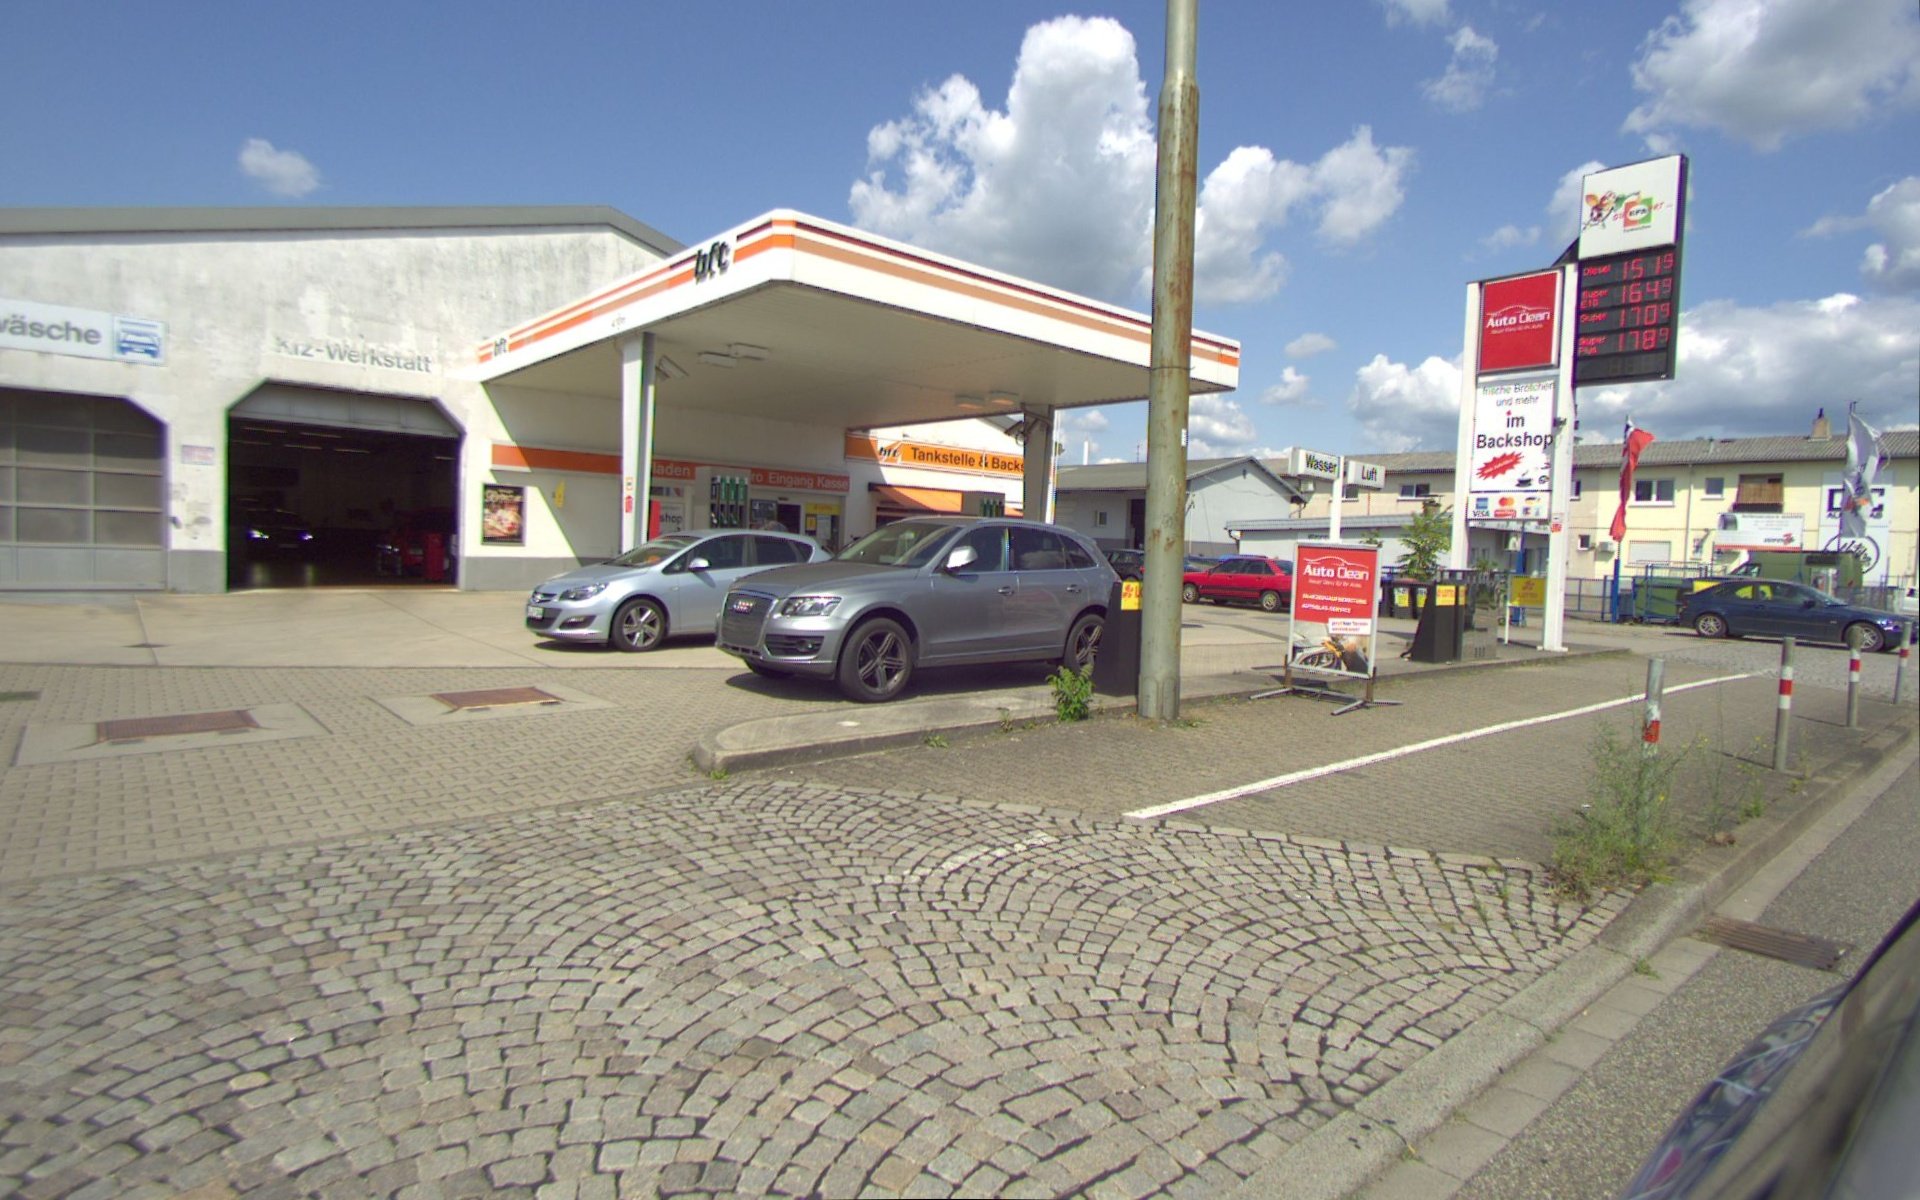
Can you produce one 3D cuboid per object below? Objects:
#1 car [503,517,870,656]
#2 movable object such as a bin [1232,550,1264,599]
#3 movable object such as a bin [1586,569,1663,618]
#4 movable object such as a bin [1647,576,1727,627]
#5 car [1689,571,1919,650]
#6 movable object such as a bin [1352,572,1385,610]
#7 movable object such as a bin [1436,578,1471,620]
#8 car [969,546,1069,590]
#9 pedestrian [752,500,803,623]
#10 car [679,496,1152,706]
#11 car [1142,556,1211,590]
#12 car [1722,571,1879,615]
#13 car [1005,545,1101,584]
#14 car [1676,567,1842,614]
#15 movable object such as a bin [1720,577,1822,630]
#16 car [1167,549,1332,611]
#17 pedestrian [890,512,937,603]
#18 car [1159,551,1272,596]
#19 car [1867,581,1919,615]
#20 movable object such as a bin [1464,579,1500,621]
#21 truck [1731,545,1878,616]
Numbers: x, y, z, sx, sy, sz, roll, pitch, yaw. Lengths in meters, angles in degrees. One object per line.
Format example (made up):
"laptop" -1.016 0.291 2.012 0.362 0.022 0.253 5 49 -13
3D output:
"car" -3.420 -0.245 13.232 4.350 1.488 1.694 -2 6 -44
"movable object such as a bin" 8.606 -0.757 30.225 0.695 1.408 0.581 0 4 -43
"movable object such as a bin" 20.234 -0.226 30.806 1.735 1.427 1.534 -1 2 -41
"movable object such as a bin" 21.282 0.013 29.623 1.735 1.427 1.534 -1 2 -41
"car" 18.863 0.154 22.419 1.616 1.425 4.069 -1 4 -34
"movable object such as a bin" 11.128 -0.251 27.582 0.694 1.023 0.581 -1 2 -42
"movable object such as a bin" 12.596 -0.038 25.840 0.694 1.023 0.581 -1 2 -42
"car" 2.041 -1.162 35.682 1.501 1.442 3.593 -1 4 -39
"pedestrian" -2.749 -0.578 15.242 0.568 1.798 0.497 -1 2 -43
"car" -0.263 -0.087 10.173 4.538 1.644 1.949 -1 4 -43
"car" 9.289 -1.190 43.674 1.605 1.369 3.681 1 2 -10
"car" 31.955 -0.328 38.605 1.792 1.526 4.267 -1 2 -32
"car" 3.518 -1.385 38.856 1.525 1.330 3.647 -1 5 -39
"car" 28.312 -0.380 36.016 1.789 1.523 4.272 0 2 -24
"movable object such as a bin" 22.590 0.061 28.202 1.679 1.363 1.966 -1 3 -41
"car" 7.997 -0.611 28.236 1.740 1.441 4.147 -1 5 -39
"pedestrian" -0.907 -0.835 19.817 0.682 1.743 0.611 1 2 34
"car" 8.233 -0.889 32.755 1.461 1.240 3.311 -1 5 -39
"car" 41.087 -0.068 42.878 1.490 1.374 3.729 -1 2 -37
"movable object such as a bin" 13.059 -0.016 25.339 0.694 1.023 0.581 -1 2 -42
"truck" 33.851 -0.814 40.645 2.071 2.693 4.181 -1 2 -39
